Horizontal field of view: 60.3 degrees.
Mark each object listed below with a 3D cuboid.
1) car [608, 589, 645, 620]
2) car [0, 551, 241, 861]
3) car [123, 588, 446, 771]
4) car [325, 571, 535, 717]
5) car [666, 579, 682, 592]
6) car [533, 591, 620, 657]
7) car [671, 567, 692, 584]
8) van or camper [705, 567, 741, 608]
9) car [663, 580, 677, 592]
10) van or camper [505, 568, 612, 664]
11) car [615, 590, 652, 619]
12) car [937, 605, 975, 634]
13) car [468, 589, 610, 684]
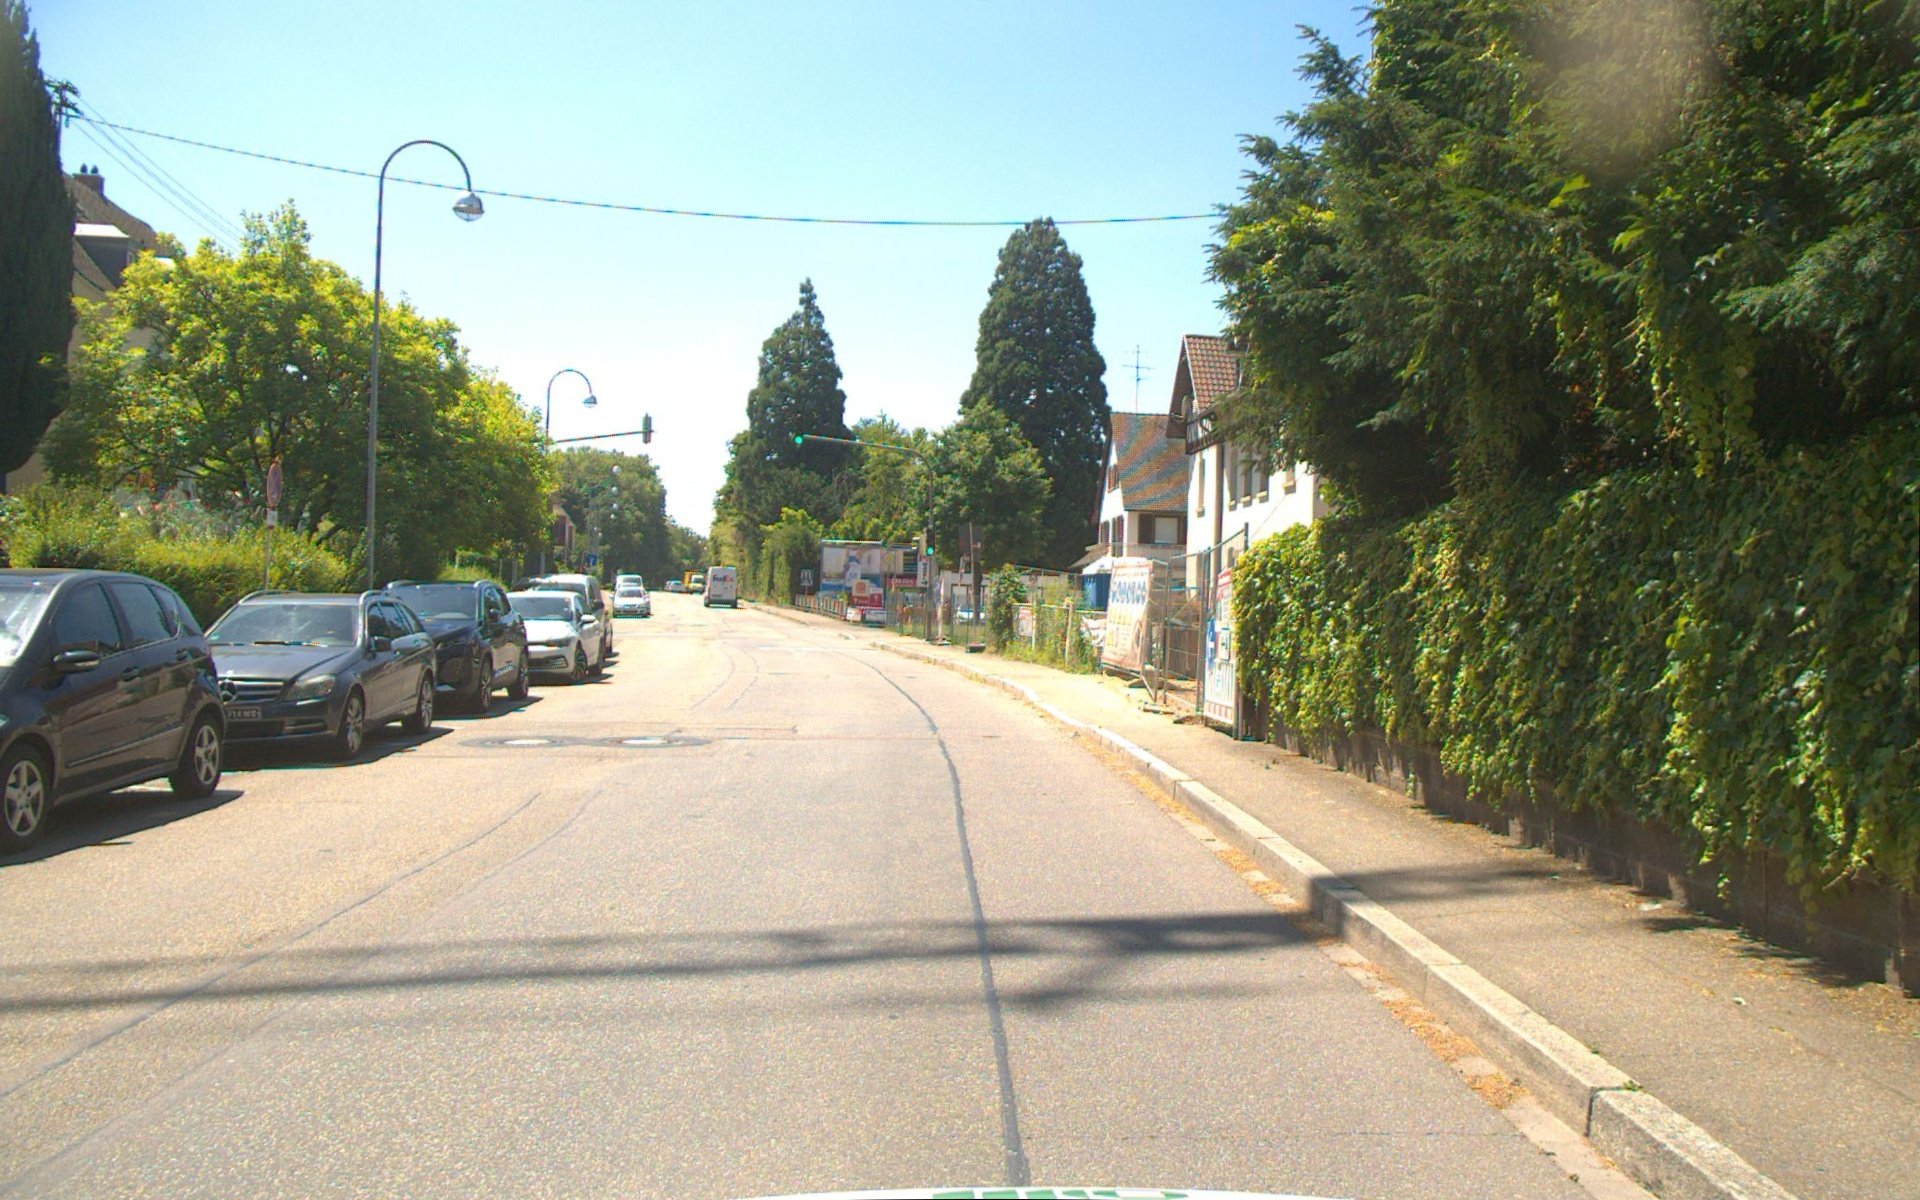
[{"bbox_3d":[-16.377,0.222,81.072,1.728,1.473,3.912,0,0,-13],"label":"car"},{"bbox_3d":[-6.064,0.568,10.307,1.647,1.668,3.788,0,0,-3],"label":"car"},{"bbox_3d":[-6.228,0.650,15.793,1.648,1.501,4.325,0,0,-5],"label":"car"},{"bbox_3d":[-6.636,0.507,21.172,1.648,1.666,4.325,0,0,-5],"label":"car"},{"bbox_3d":[-39.419,-1.959,228.264,1.959,1.691,3.988,2,0,-12],"label":"car"},{"bbox_3d":[-8.698,0.515,37.759,1.650,1.437,3.918,0,0,-9],"label":"car"},{"bbox_3d":[-29.376,-2.536,174.488,1.959,1.691,3.988,2,0,-12],"label":"car"},{"bbox_3d":[-15.335,-0.820,106.802,2.221,2.572,4.749,1,0,-9],"label":"van or camper"},{"bbox_3d":[-42.586,-2.054,242.810,1.959,1.691,3.988,2,0,-12],"label":"car"},{"bbox_3d":[-8.077,0.307,33.523,1.649,1.835,3.979,0,0,-7],"label":"van or camper"},{"bbox_3d":[-17.016,0.215,86.081,1.763,1.426,4.205,1,0,-13],"label":"car"},{"bbox_3d":[-0.160,0.943,80.122,1.676,1.292,3.385,3,0,2],"label":"car"},{"bbox_3d":[-6.954,0.564,27.672,1.648,1.466,4.242,0,0,-5],"label":"car"}]
